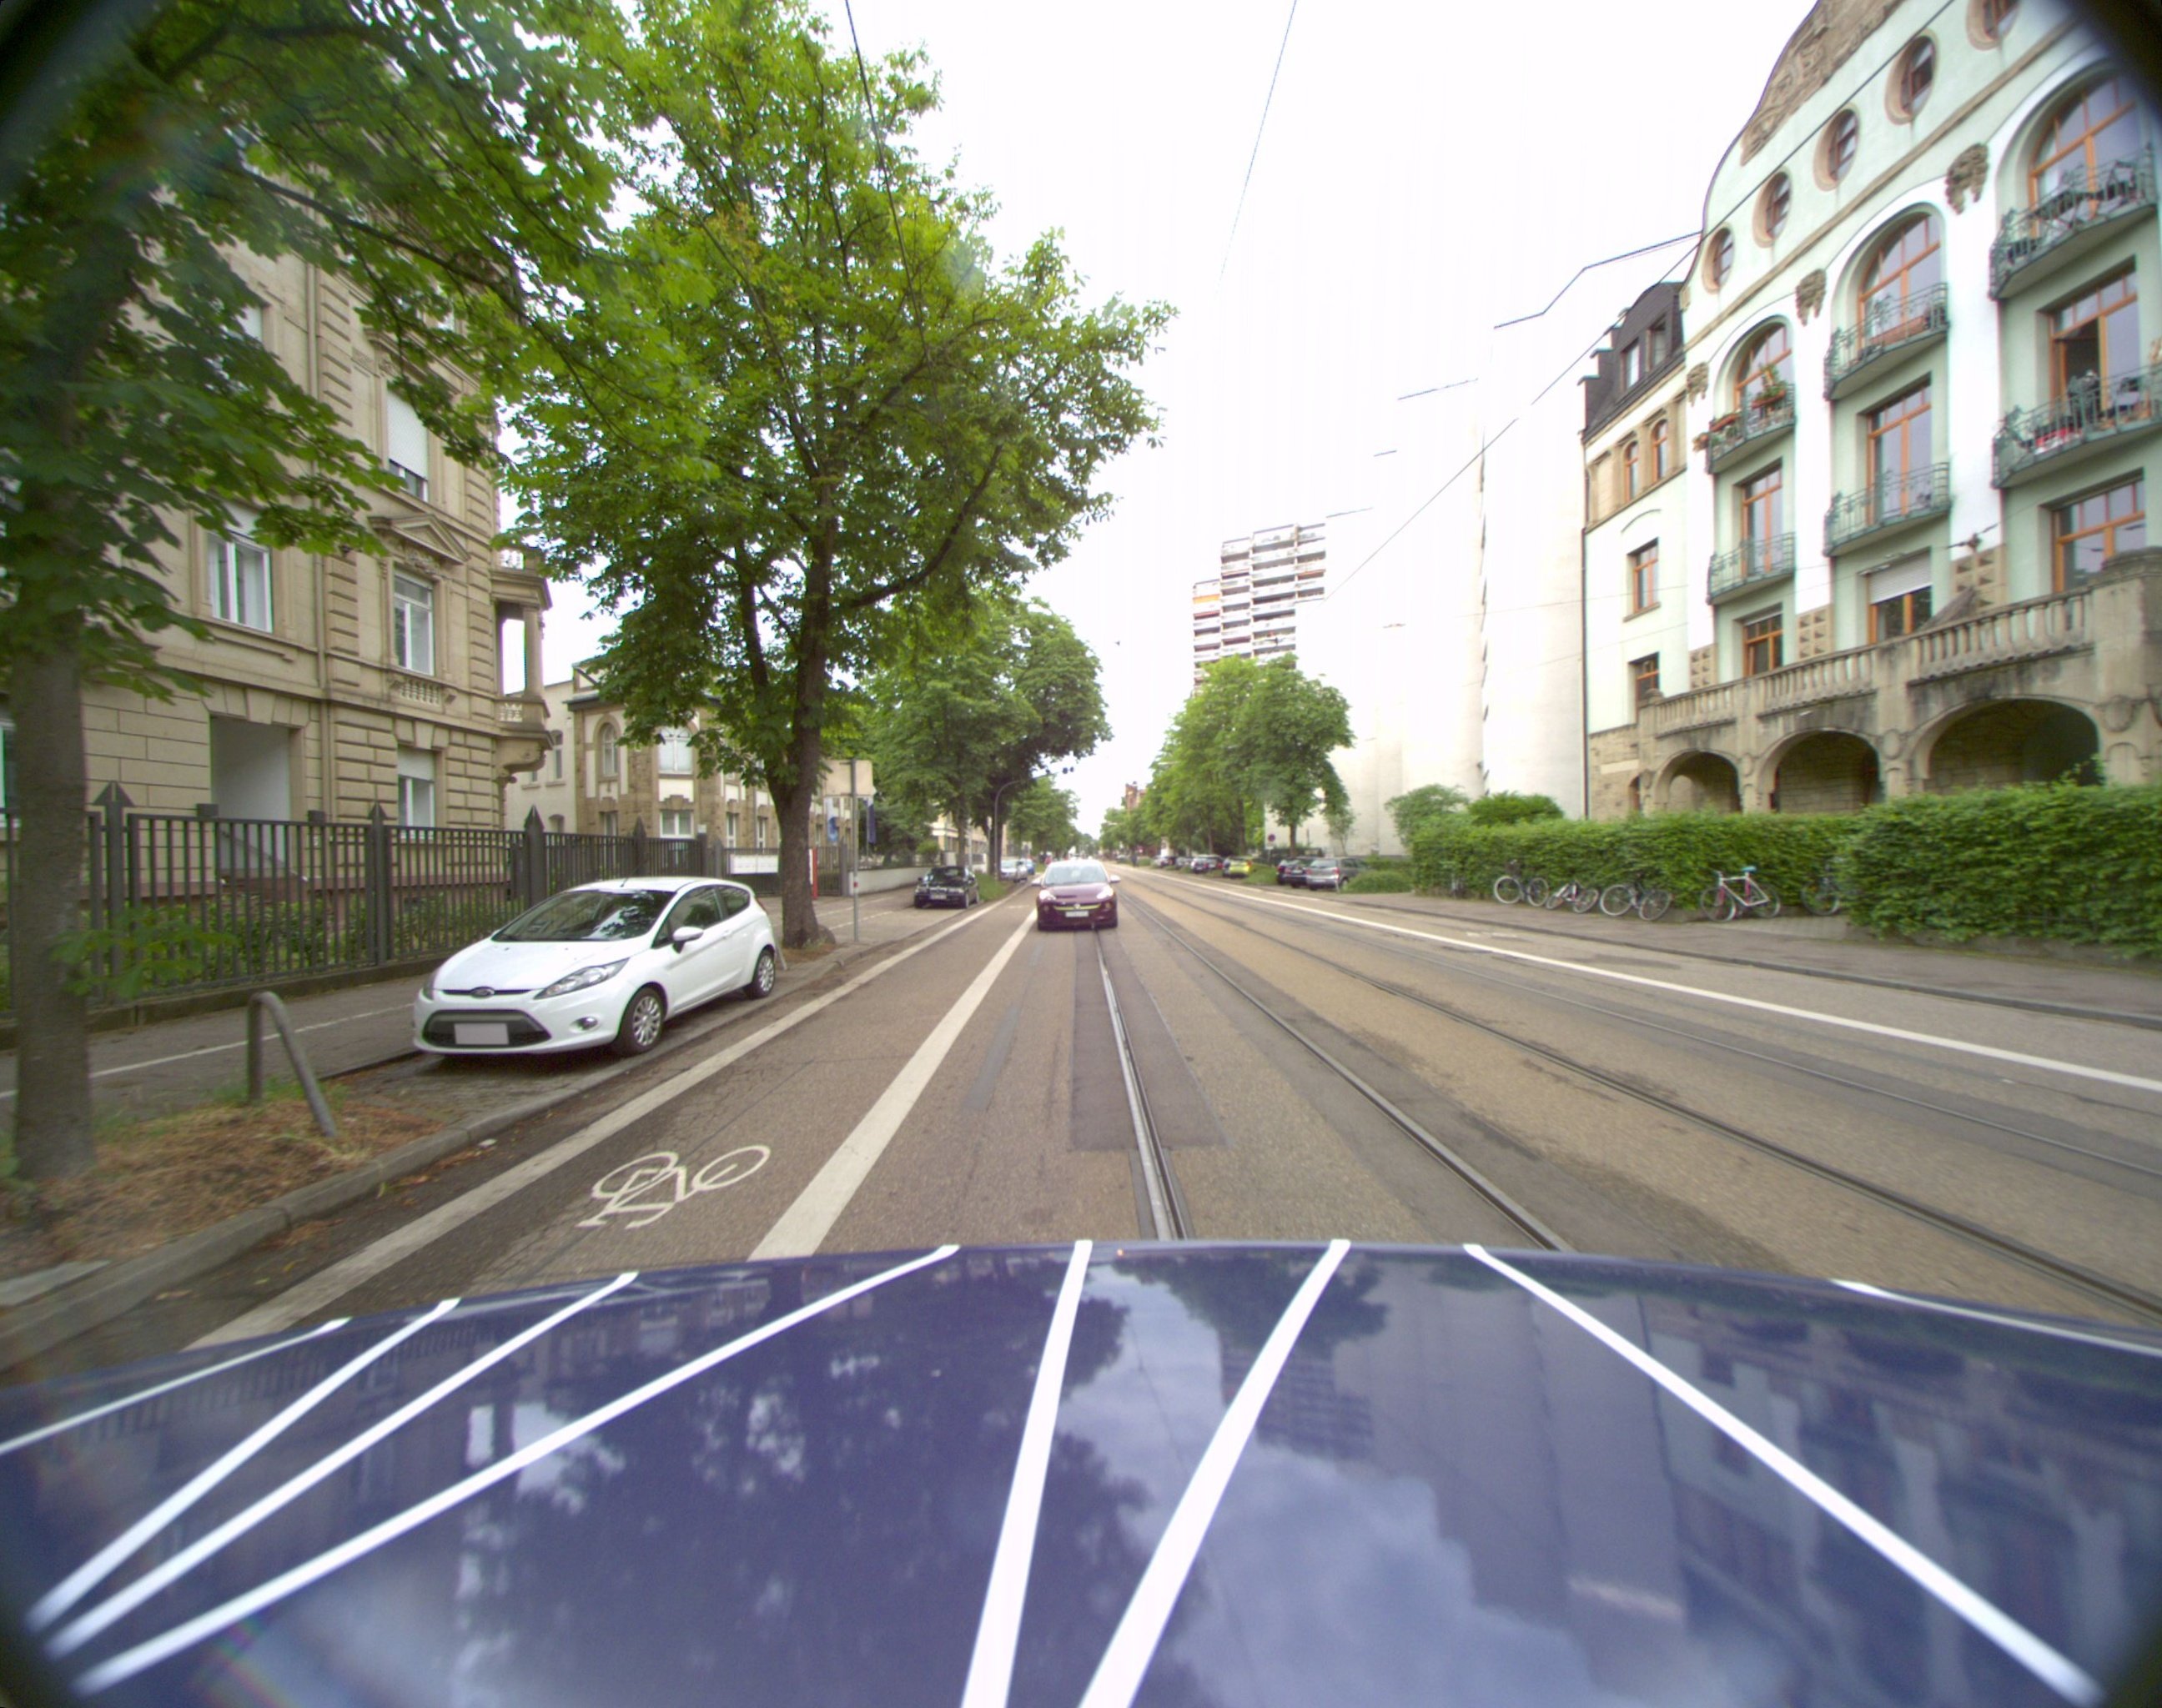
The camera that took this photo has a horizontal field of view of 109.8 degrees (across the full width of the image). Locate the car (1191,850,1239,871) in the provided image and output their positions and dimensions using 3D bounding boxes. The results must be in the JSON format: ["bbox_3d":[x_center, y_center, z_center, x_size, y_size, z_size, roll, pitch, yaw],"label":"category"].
[{"bbox_3d":[10.867,0.513,61.419,4.008,1.611,1.690,-1,0,-43],"label":"car"}]

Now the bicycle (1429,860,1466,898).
[{"bbox_3d":[11.054,0.742,22.937,0.360,1.077,1.546,-1,0,0],"label":"bicycle"}]

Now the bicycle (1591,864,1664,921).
[{"bbox_3d":[11.000,0.745,15.348,0.360,1.077,1.546,-1,0,0],"label":"bicycle"}]

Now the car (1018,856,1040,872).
[{"bbox_3d":[-4.642,0.902,68.188,1.606,1.362,3.836,1,0,0],"label":"car"}]

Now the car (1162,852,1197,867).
[{"bbox_3d":[10.956,0.621,84.668,4.008,1.611,1.690,-1,0,-43],"label":"car"}]

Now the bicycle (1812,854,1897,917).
[{"bbox_3d":[14.261,0.572,14.017,1.205,1.077,0.301,-3,1,2],"label":"bicycle"}]

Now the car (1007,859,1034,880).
[{"bbox_3d":[-4.407,1.097,55.760,1.606,1.416,3.836,1,0,0],"label":"car"}]

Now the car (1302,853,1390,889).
[{"bbox_3d":[11.359,0.695,32.474,4.008,1.395,1.691,-1,0,-40],"label":"car"}]

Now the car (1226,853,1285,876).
[{"bbox_3d":[11.192,0.657,48.646,4.008,1.387,1.690,-1,0,-43],"label":"car"}]

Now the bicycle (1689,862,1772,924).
[{"bbox_3d":[11.979,0.713,14.019,1.205,1.077,0.301,-3,1,2],"label":"bicycle"}]

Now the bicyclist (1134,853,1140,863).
[{"bbox_3d":[7.610,0.531,103.201,0.752,1.247,0.875,-1,1,-2],"label":"bicyclist"}]

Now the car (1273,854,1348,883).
[{"bbox_3d":[11.660,0.703,38.473,4.008,1.395,1.691,-1,0,-40],"label":"car"}]

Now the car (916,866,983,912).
[{"bbox_3d":[-4.403,1.126,25.964,1.606,1.362,3.836,1,0,0],"label":"car"}]

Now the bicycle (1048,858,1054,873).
[{"bbox_3d":[-2.422,0.946,61.810,0.414,1.197,1.707,-1,0,1],"label":"bicycle"}]

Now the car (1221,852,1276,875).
[{"bbox_3d":[11.416,0.618,51.696,4.008,1.434,1.690,-1,0,-43],"label":"car"}]

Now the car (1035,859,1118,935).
[{"bbox_3d":[-0.051,0.874,17.197,1.606,1.427,3.777,-2,0,1],"label":"car"}]

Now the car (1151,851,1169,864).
[{"bbox_3d":[9.852,0.392,94.960,1.694,1.611,3.999,-1,0,-2],"label":"car"}]

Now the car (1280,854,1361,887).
[{"bbox_3d":[11.172,0.741,35.307,4.008,1.395,1.691,-1,0,-40],"label":"car"}]

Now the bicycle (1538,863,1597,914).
[{"bbox_3d":[11.050,0.767,17.315,0.360,1.077,1.546,-1,0,0],"label":"bicycle"}]

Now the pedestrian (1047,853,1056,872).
[{"bbox_3d":[-2.360,0.698,61.589,0.684,1.541,0.704,-1,1,1],"label":"pedestrian"}]

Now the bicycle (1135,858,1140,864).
[{"bbox_3d":[7.644,0.884,103.146,0.568,0.784,1.890,-1,0,0],"label":"bicycle"}]

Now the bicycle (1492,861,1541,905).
[{"bbox_3d":[11.135,0.719,19.465,0.360,1.077,1.546,-1,0,0],"label":"bicycle"}]

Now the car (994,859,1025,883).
[{"bbox_3d":[-4.531,1.047,48.417,1.606,1.362,3.836,1,0,0],"label":"car"}]

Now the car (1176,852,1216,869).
[{"bbox_3d":[11.357,0.651,74.836,4.008,1.611,1.690,-1,0,-43],"label":"car"}]

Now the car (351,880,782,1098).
[{"bbox_3d":[-4.497,1.051,7.422,1.631,1.427,3.764,1,0,0],"label":"car"}]
